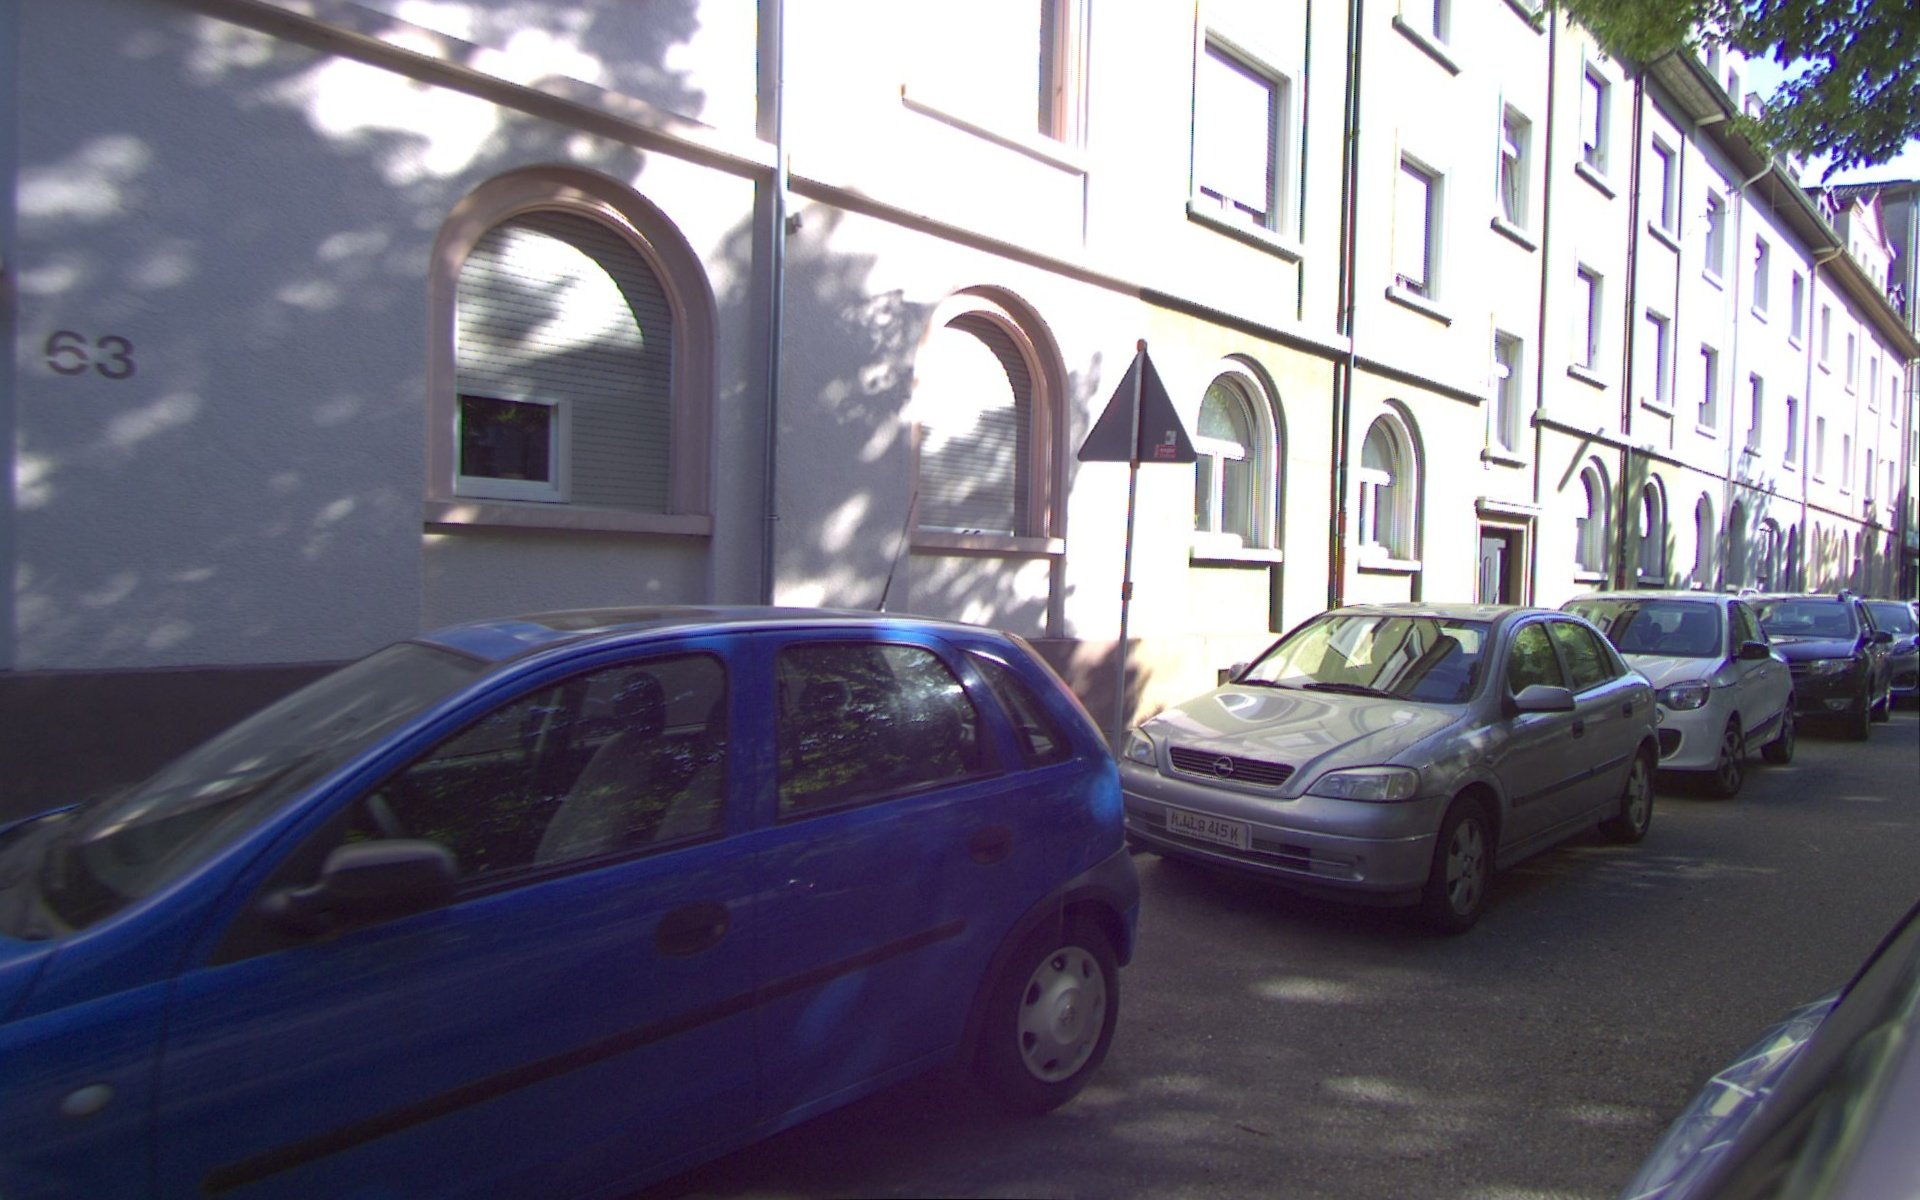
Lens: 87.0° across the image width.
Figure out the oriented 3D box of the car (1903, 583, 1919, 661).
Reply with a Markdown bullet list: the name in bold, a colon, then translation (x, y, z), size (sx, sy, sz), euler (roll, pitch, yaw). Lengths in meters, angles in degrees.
- **car**: translation (22.973, 0.513, 23.162), size (4.087, 1.707, 1.725), euler (0, 1, -43)

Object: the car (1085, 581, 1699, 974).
- **car**: translation (2.657, 0.649, 5.712), size (4.018, 1.430, 1.633), euler (0, 1, -42)

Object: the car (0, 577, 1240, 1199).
- **car**: translation (-1.065, 0.687, 2.610), size (3.721, 1.430, 1.621), euler (0, 1, -40)

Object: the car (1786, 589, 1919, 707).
- **car**: translation (13.973, 0.642, 15.293), size (4.087, 1.547, 1.725), euler (0, 1, -42)

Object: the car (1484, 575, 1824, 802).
- **car**: translation (6.123, 0.599, 8.791), size (3.530, 1.553, 1.633), euler (0, 1, -42)

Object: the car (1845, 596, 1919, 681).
- **car**: translation (18.150, 0.686, 19.003), size (4.085, 1.450, 1.726), euler (0, 1, -41)

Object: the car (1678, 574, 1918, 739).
- **car**: translation (10.117, 0.550, 12.110), size (4.088, 1.616, 1.724), euler (0, 2, -44)
